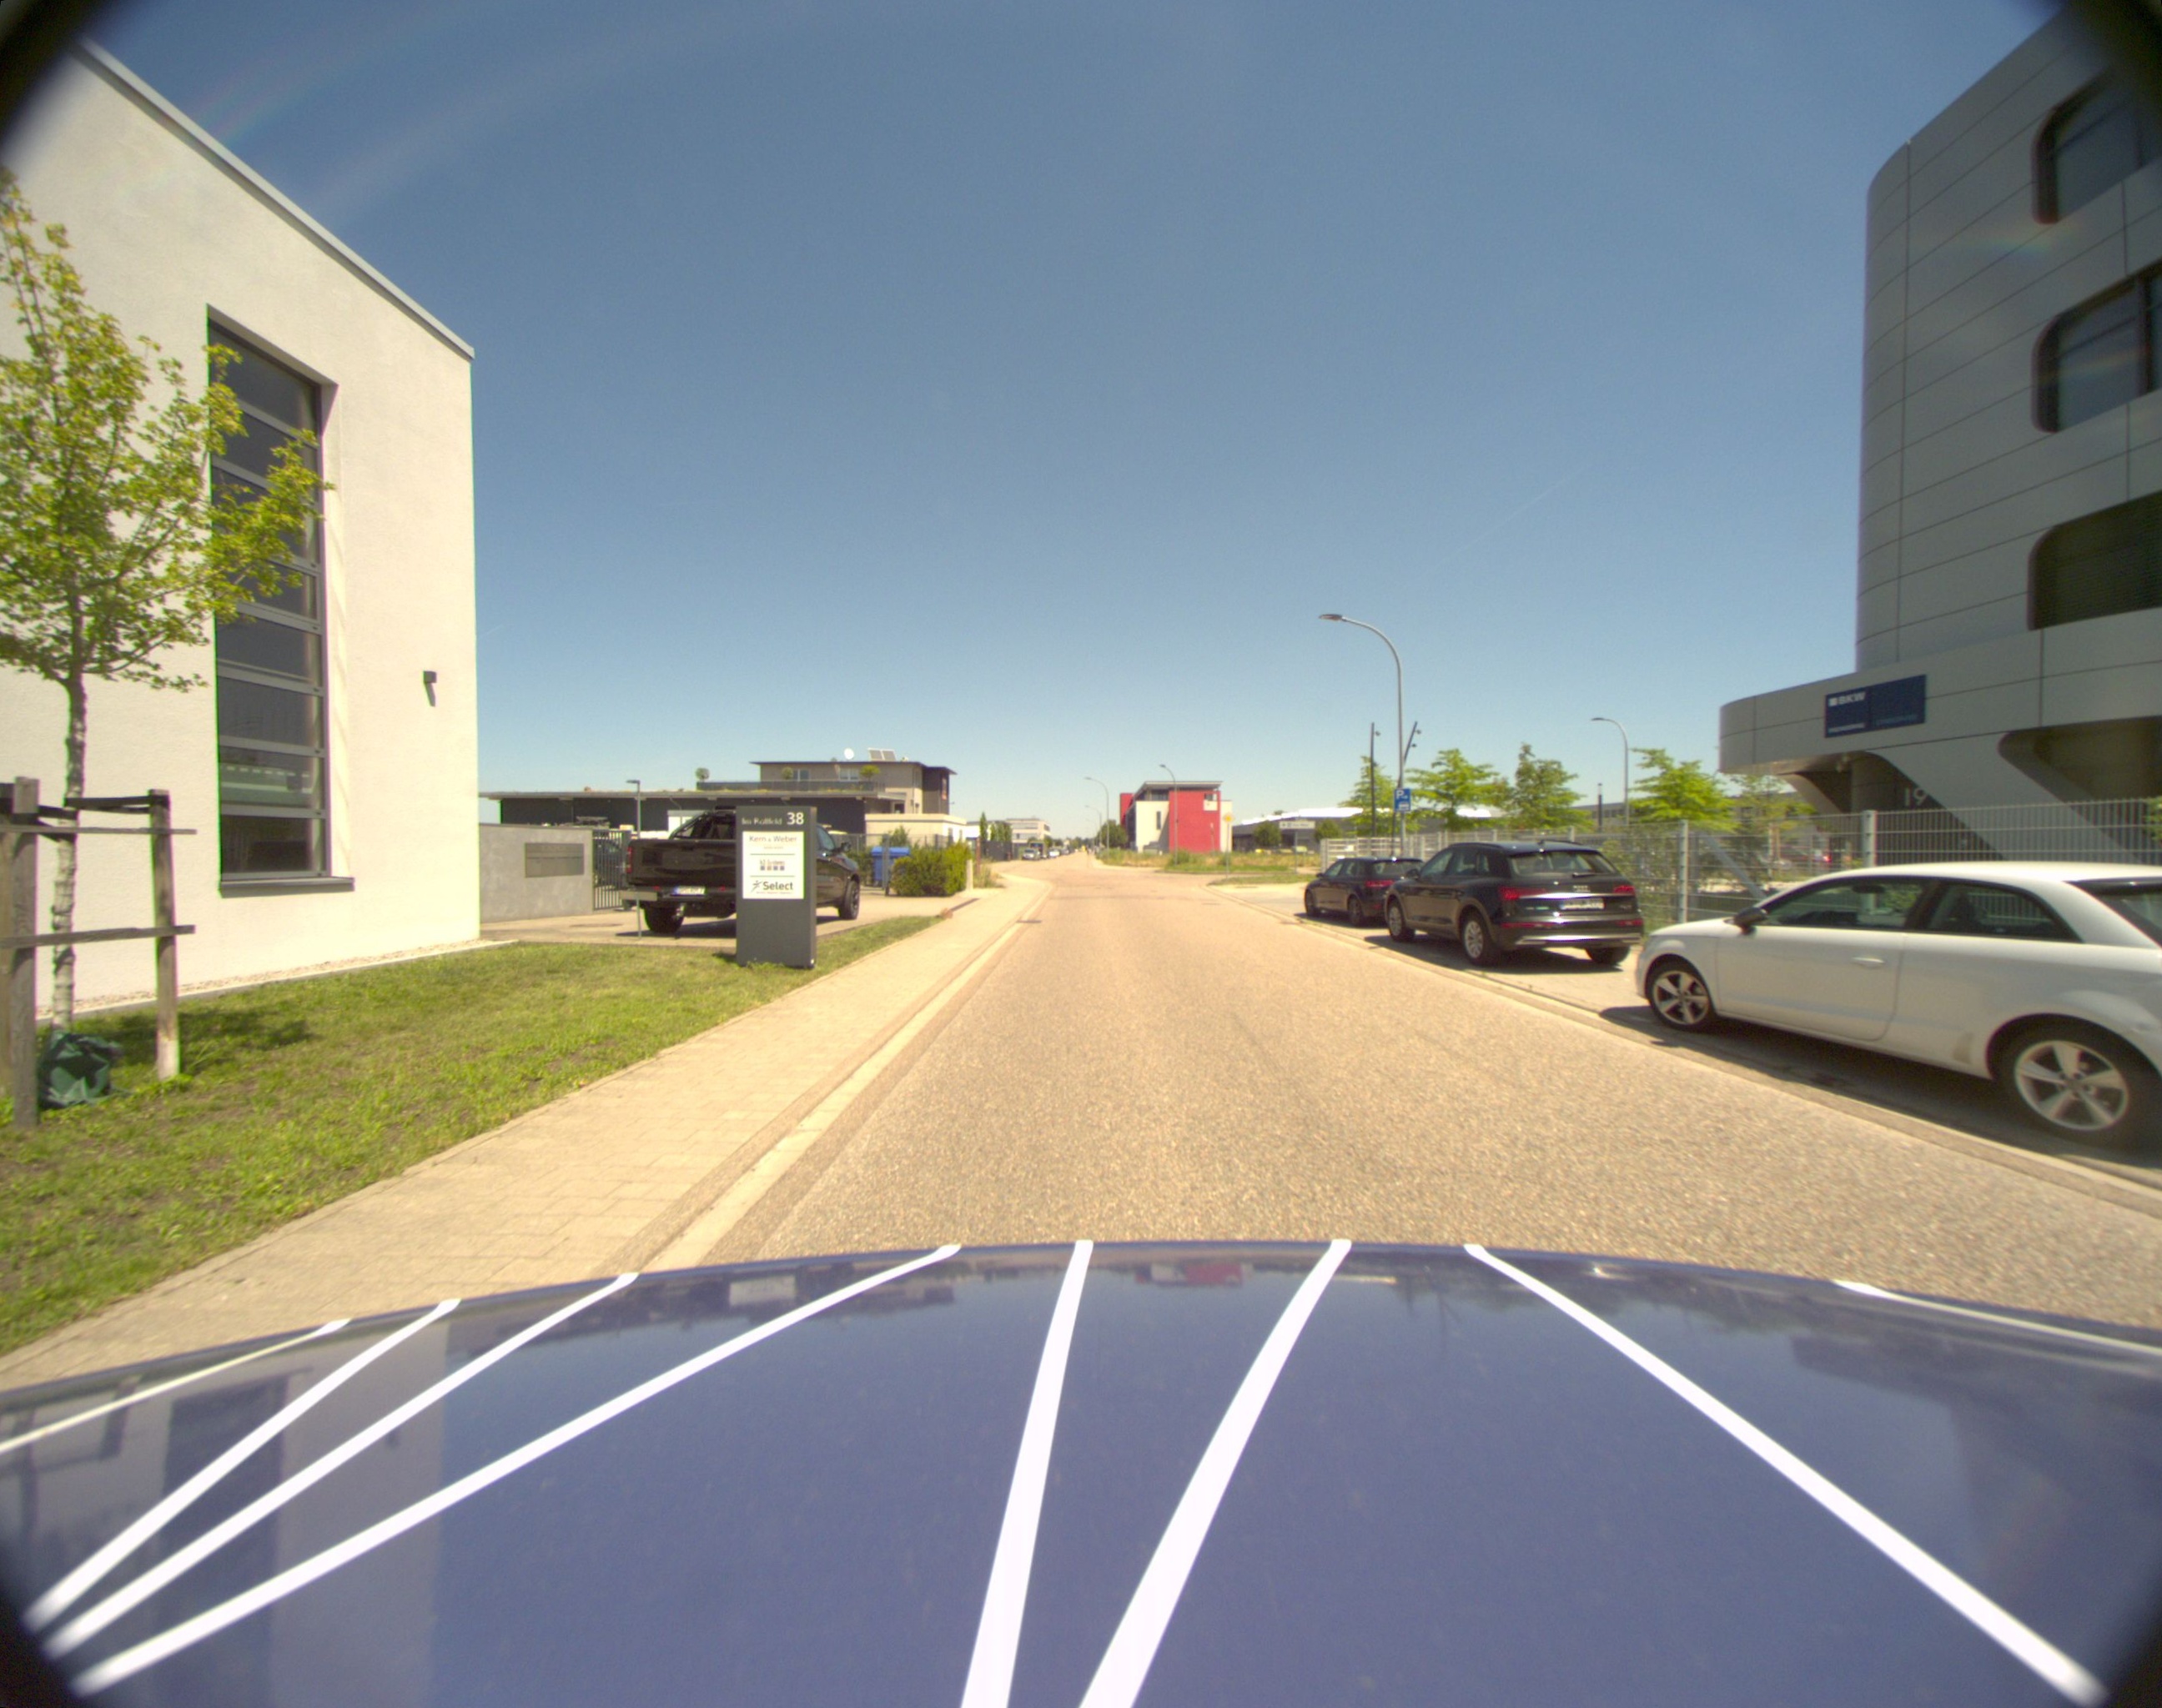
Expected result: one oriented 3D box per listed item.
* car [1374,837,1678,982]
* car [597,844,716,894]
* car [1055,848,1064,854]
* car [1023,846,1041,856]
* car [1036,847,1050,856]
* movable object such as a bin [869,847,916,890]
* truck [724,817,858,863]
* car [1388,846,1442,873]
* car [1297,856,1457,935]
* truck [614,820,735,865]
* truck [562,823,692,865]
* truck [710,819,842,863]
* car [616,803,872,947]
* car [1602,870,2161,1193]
[{"bbox_3d":[6.022,0.639,11.120,1.774,1.641,4.851,-1,0,2],"label":"car"},{"bbox_3d":[-14.647,0.445,26.510,1.860,1.481,3.998,0,3,0],"label":"car"},{"bbox_3d":[-4.873,-0.704,173.905,1.828,1.269,3.885,0,1,1],"label":"car"},{"bbox_3d":[-6.099,-0.409,94.524,1.828,1.269,3.885,0,1,1],"label":"car"},{"bbox_3d":[-5.553,-0.325,111.791,1.828,1.269,3.885,0,1,1],"label":"car"},{"bbox_3d":[-6.776,0.493,27.356,1.387,1.514,1.170,0,1,0],"label":"movable object such as a bin"},{"bbox_3d":[-20.314,-0.968,53.527,8.354,3.005,2.625,-1,1,1],"label":"truck"},{"bbox_3d":[22.614,0.327,51.617,1.956,1.688,4.308,-1,1,2],"label":"car"},{"bbox_3d":[6.262,0.797,16.625,1.774,1.458,4.185,-1,0,-2],"label":"car"},{"bbox_3d":[-28.445,-0.811,53.338,7.026,3.005,2.496,-1,1,1],"label":"truck"},{"bbox_3d":[-34.895,-0.767,58.565,8.354,3.005,2.689,-1,1,1],"label":"truck"},{"bbox_3d":[-23.279,-0.966,58.295,8.966,3.159,2.689,-1,1,1],"label":"truck"},{"bbox_3d":[-5.466,0.364,13.445,1.999,2.001,5.801,0,-1,-1],"label":"car"},{"bbox_3d":[5.740,0.853,5.092,1.704,1.378,3.936,-1,0,-2],"label":"car"}]
